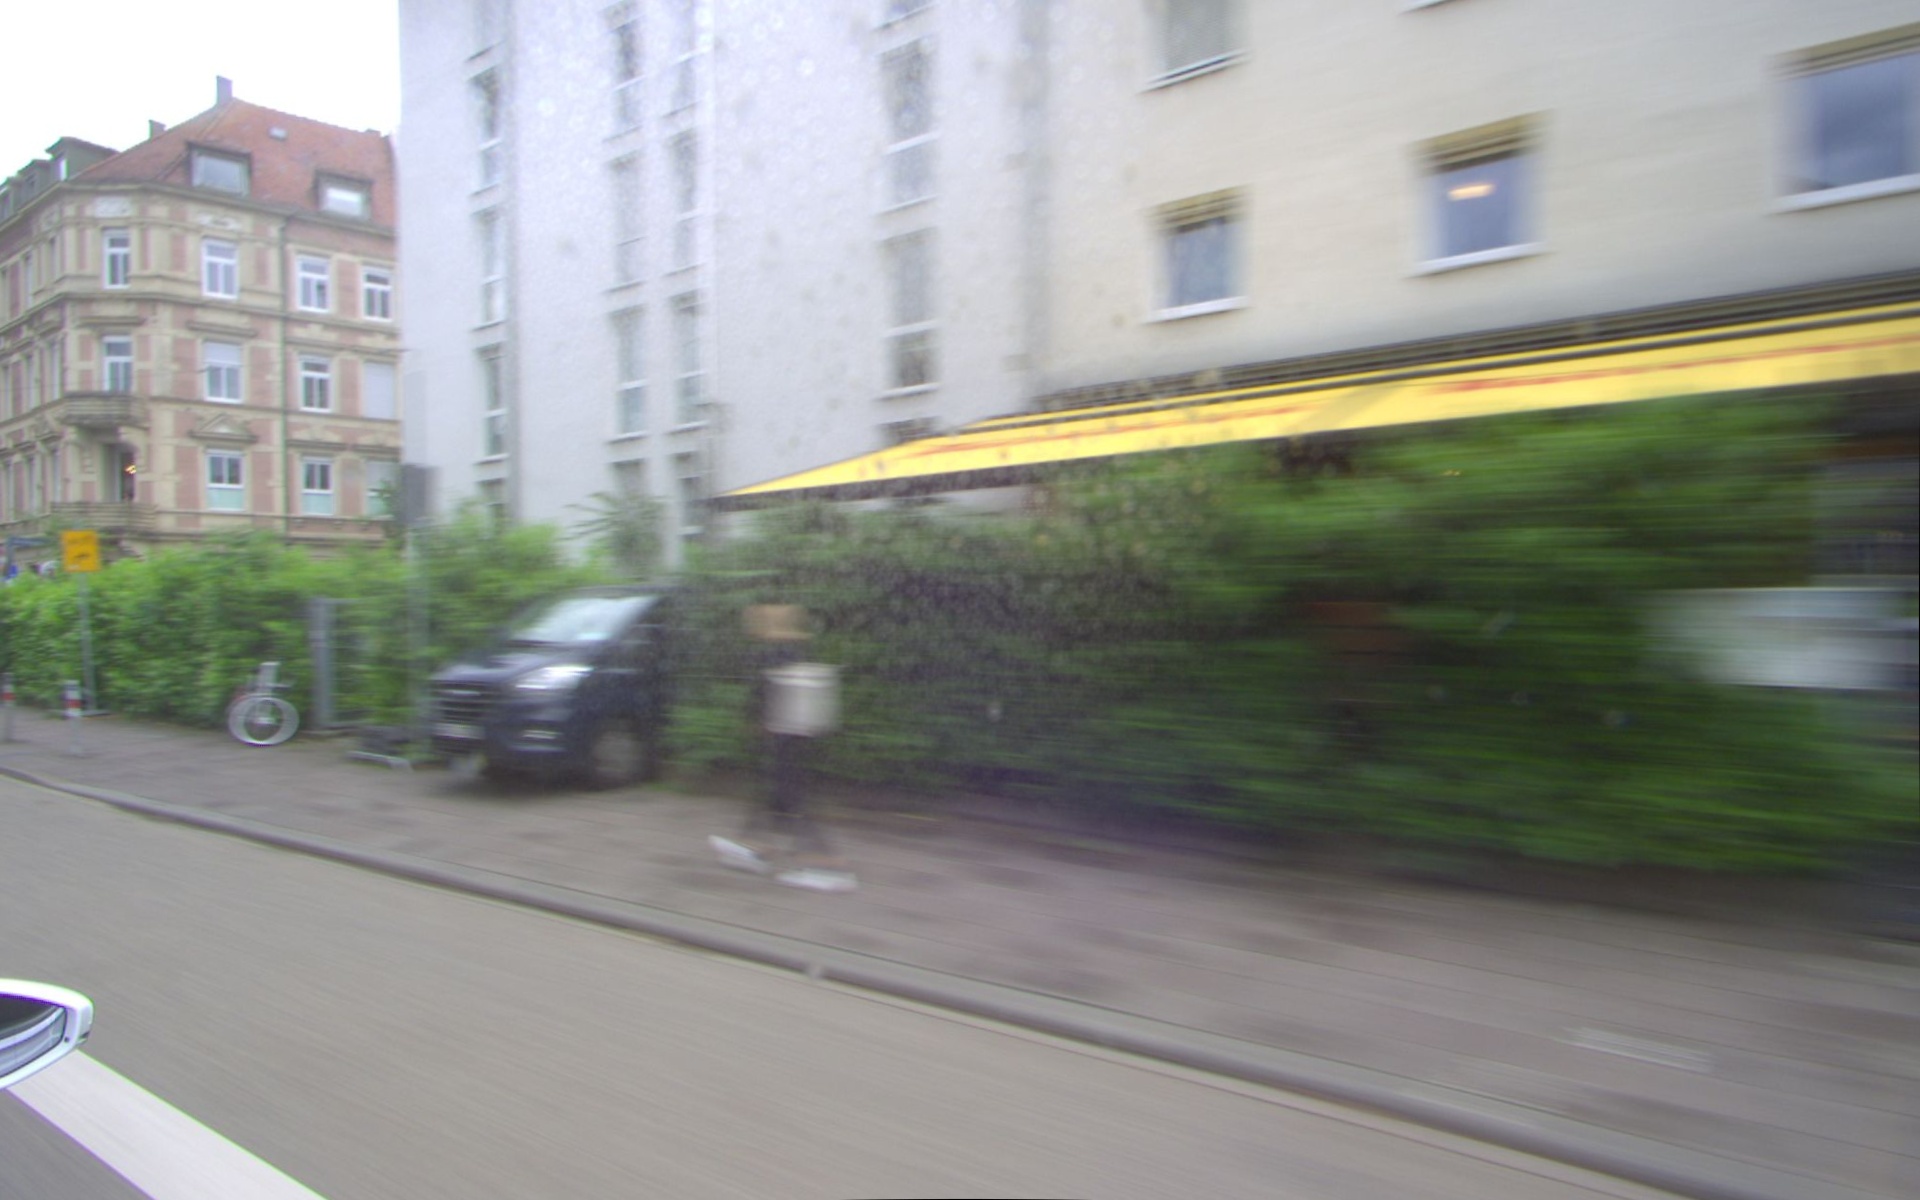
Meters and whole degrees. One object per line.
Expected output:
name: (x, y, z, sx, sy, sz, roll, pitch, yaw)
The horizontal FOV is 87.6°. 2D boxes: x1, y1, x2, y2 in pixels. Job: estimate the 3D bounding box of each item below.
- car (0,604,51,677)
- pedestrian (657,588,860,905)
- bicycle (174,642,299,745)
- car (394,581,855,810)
car: (-26.717, 1.089, 27.872, 2.037, 1.902, 4.983, 0, -1, -42)
pedestrian: (-1.180, 0.793, 5.887, 0.946, 1.694, 0.622, 0, 3, 32)
bicycle: (-9.127, 1.143, 12.617, 1.786, 1.143, 0.631, 0, 2, 32)
car: (-3.154, 0.760, 10.278, 1.799, 1.833, 4.268, -1, 0, 34)
